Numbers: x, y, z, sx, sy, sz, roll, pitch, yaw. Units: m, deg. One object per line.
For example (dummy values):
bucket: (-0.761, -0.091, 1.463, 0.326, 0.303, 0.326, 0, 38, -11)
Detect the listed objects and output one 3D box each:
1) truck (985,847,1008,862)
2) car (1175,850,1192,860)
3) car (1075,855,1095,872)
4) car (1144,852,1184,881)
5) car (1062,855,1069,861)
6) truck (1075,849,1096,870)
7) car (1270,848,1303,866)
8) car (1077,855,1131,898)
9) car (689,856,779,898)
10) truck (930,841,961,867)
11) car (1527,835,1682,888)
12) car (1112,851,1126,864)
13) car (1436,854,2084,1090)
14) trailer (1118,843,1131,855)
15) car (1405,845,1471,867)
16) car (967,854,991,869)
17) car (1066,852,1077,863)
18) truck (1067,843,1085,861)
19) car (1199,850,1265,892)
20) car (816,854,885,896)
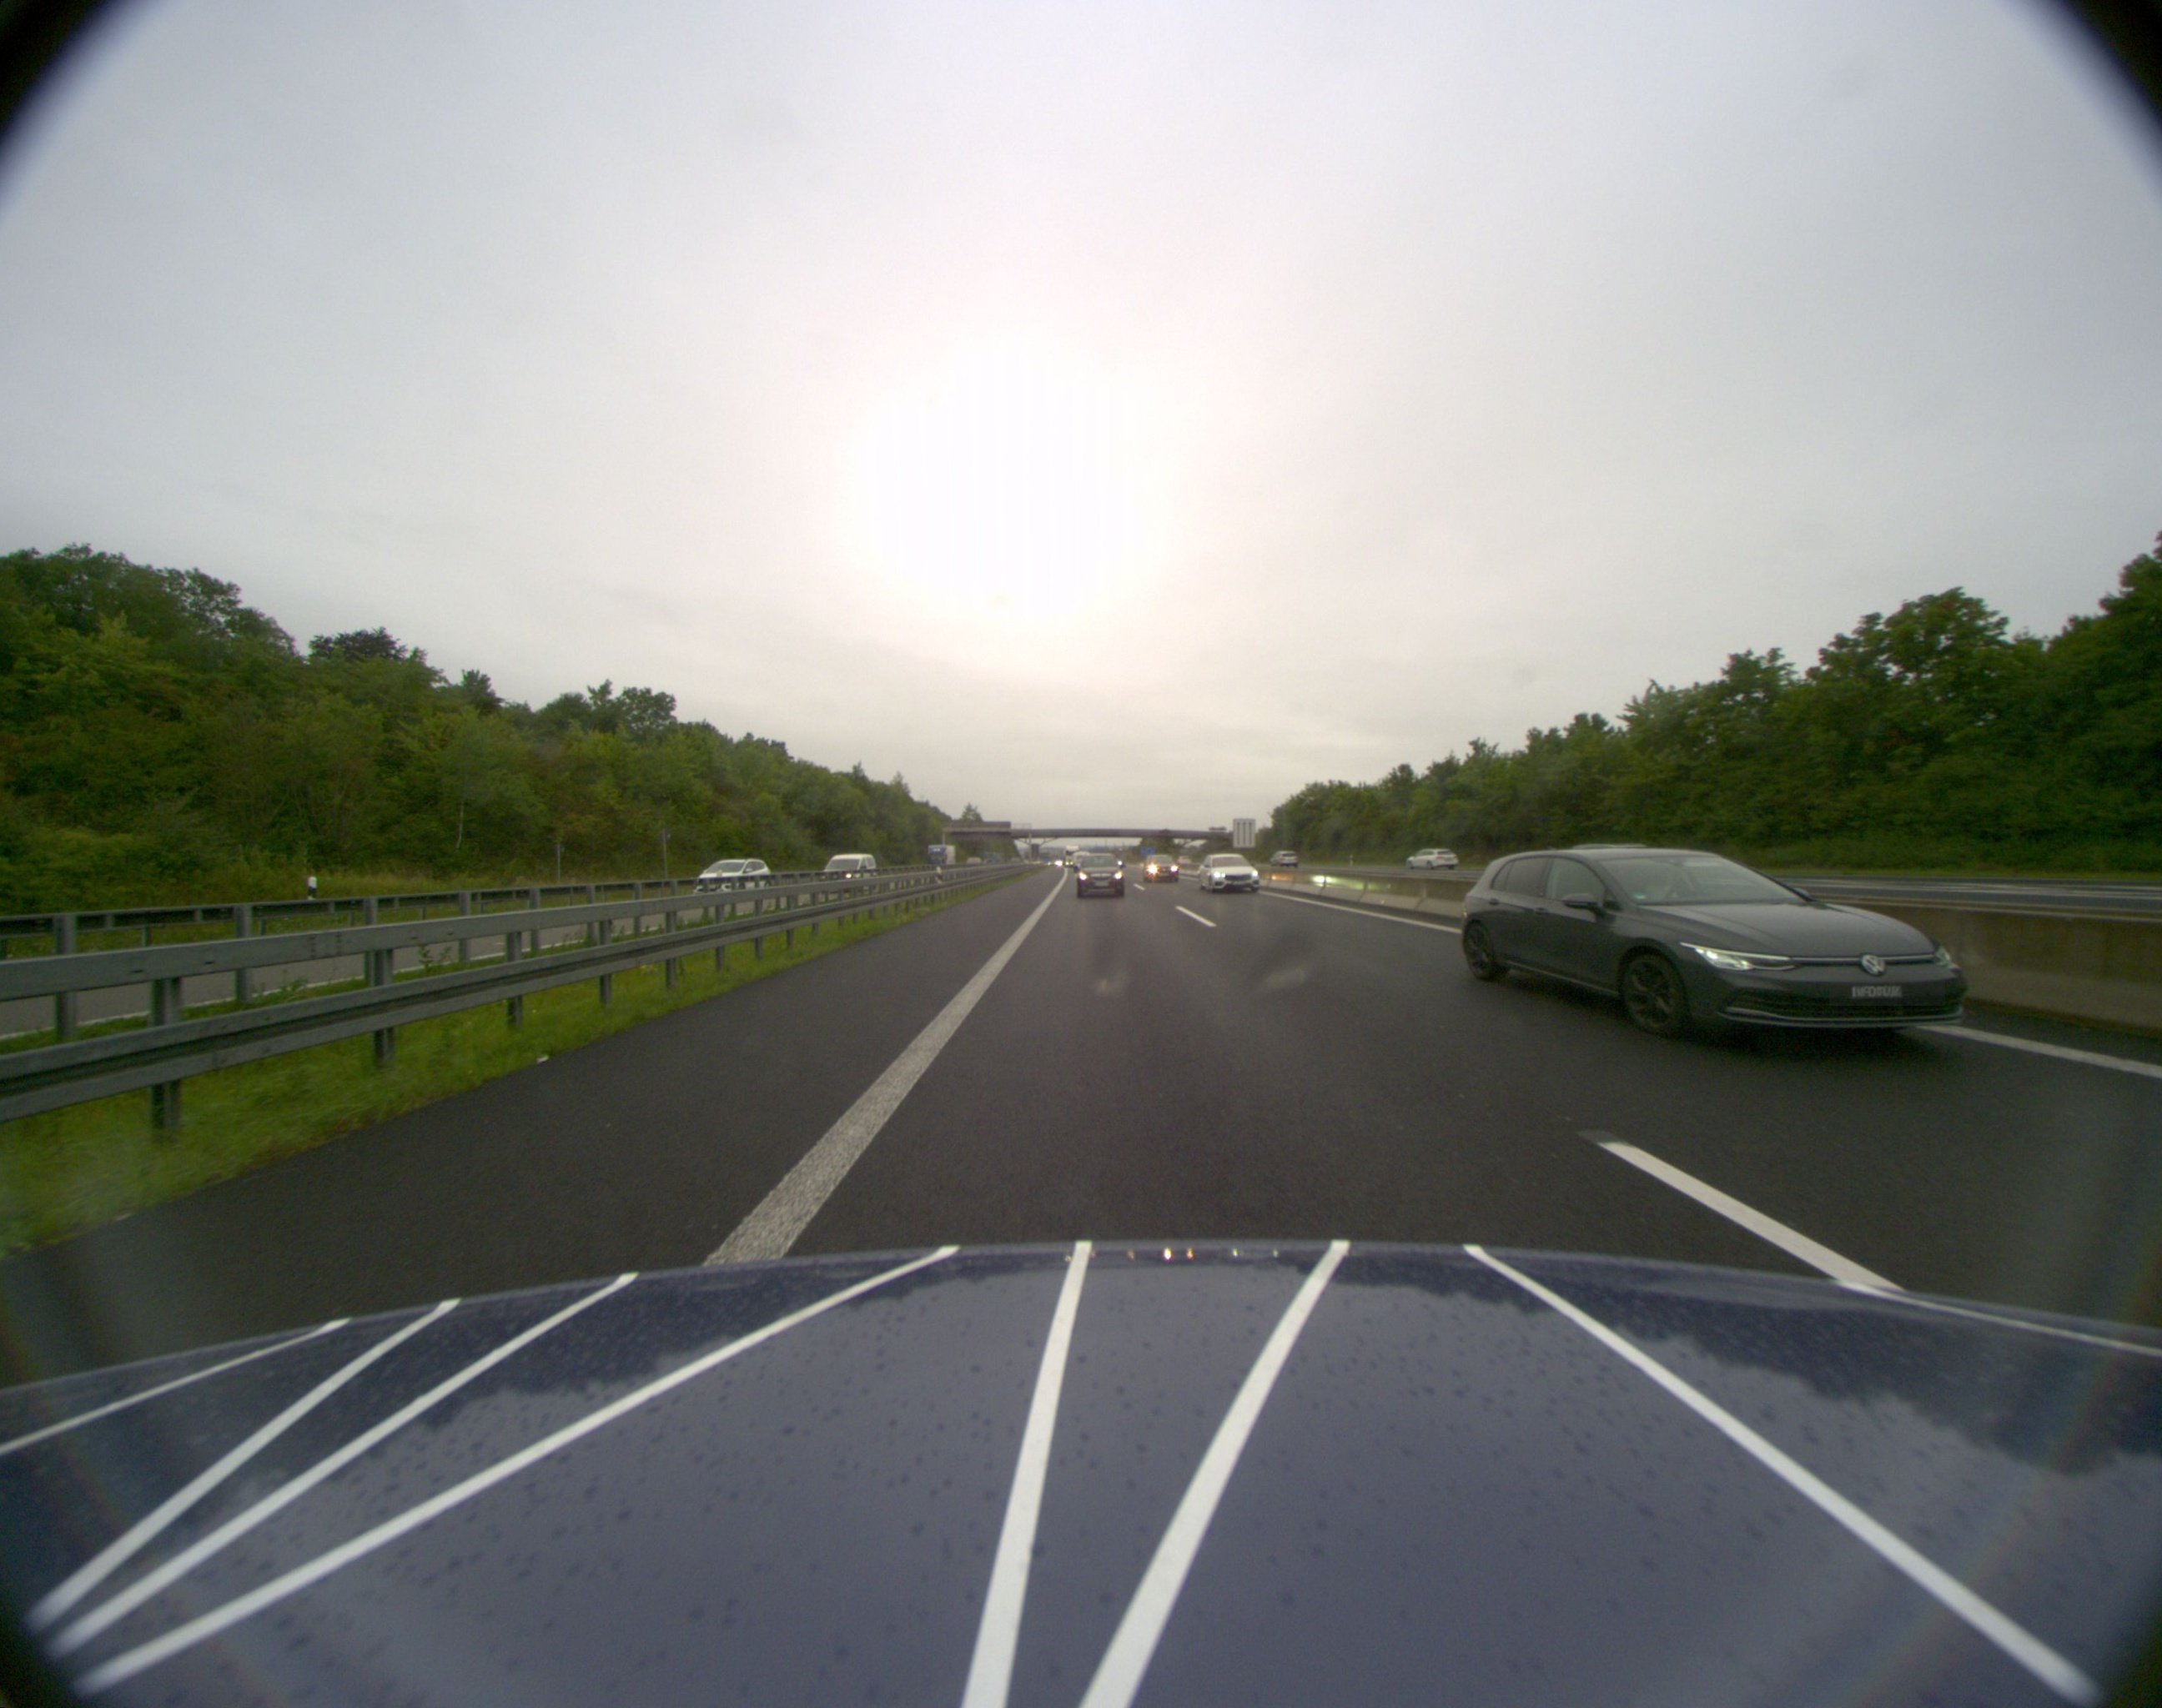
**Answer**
truck: (-19.547, 0.060, 175.737, 2.908, 3.397, 13.356, -1, 0, 4)
car: (15.561, 0.105, 115.208, 1.987, 1.497, 4.140, -1, 0, 0)
car: (0.398, 0.941, 77.807, 1.825, 1.669, 4.000, -2, 0, 2)
car: (4.609, 0.653, 42.742, 1.905, 1.497, 4.114, -1, 0, 2)
car: (-4.631, 1.185, 228.574, 1.917, 1.671, 4.000, -2, 0, 2)
truck: (0.522, 0.537, 84.595, 2.175, 2.214, 5.643, -1, 0, 2)
car: (20.499, 0.288, 76.025, 2.185, 1.625, 4.537, -1, 0, 2)
car: (0.907, 0.819, 29.707, 1.905, 1.497, 4.114, -1, 0, 2)
car: (-14.685, 0.937, 32.411, 1.901, 1.603, 4.145, -1, 0, 0)
truck: (-19.042, -0.011, 107.194, 2.909, 3.397, 9.280, -2, 0, -2)
car: (18.449, 0.236, 27.168, 2.184, 1.686, 5.251, -1, 0, 4)
car: (5.034, 0.475, 101.134, 1.715, 1.724, 4.000, -2, 0, 0)
car: (5.217, 0.730, 6.897, 1.905, 1.397, 4.459, -1, 0, 0)
trailer: (14.586, -1.623, 253.606, 3.268, 4.059, 13.843, -1, 0, -1)
car: (25.329, 0.118, 54.152, 2.187, 1.421, 4.384, -2, 0, -9)
car: (-11.964, 0.875, 89.374, 2.013, 1.645, 4.472, -1, 0, 1)
car: (-1.528, 0.588, 122.484, 1.715, 1.724, 4.000, -2, 0, 0)
truck: (-0.954, -0.406, 145.685, 3.153, 3.332, 13.099, -2, 0, 0)
car: (5.842, 0.621, 29.874, 1.905, 1.497, 4.114, -1, 0, 2)
car: (-11.063, 0.956, 36.754, 2.013, 1.804, 4.275, -1, 0, 0)
